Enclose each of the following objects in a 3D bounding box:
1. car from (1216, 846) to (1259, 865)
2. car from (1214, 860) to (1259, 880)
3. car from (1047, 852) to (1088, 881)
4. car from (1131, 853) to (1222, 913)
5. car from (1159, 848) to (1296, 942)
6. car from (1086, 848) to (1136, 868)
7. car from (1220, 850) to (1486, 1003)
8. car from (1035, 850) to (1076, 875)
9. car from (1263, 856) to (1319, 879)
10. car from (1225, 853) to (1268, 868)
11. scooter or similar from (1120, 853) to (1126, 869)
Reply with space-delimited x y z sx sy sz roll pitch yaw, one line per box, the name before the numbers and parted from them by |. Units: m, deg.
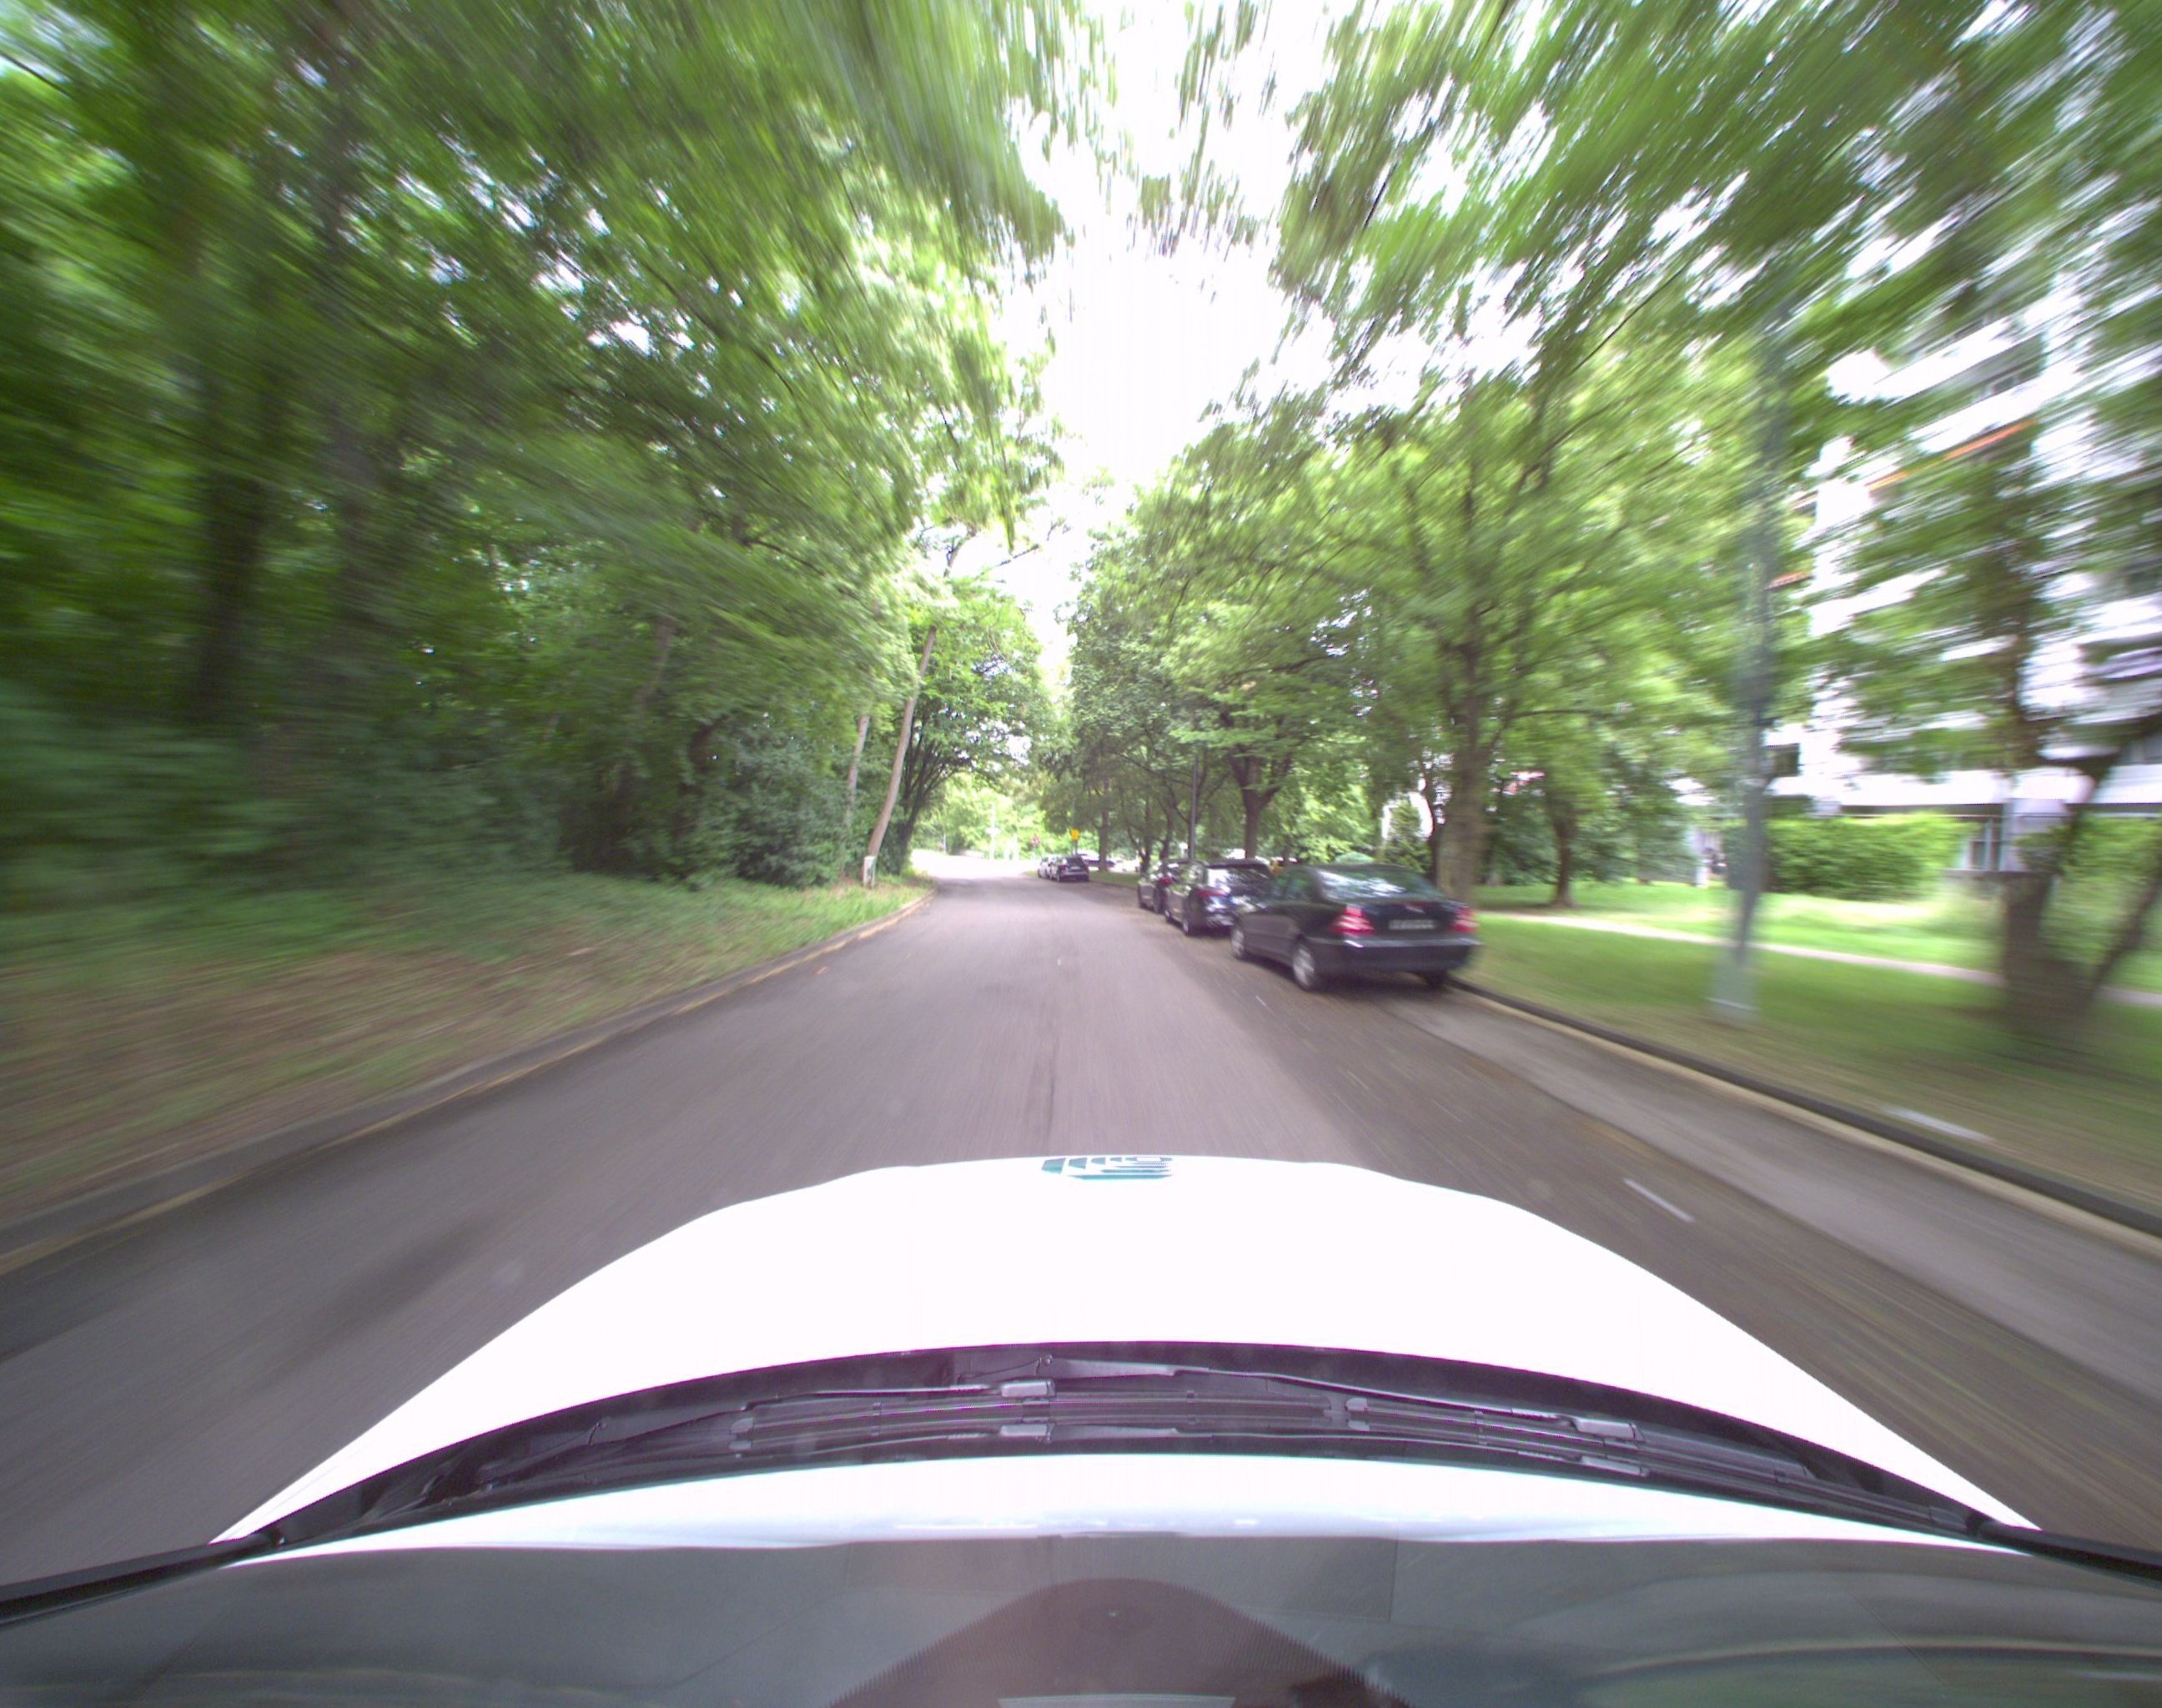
car | 17.317 0.117 90.093 4.202 2.013 1.995 1 0 -8
car | 13.493 1.357 70.764 3.505 1.570 1.832 1 1 0
car | -0.825 0.700 47.474 1.774 1.522 4.169 1 0 -10
car | 2.517 0.718 22.400 1.680 1.464 3.890 1 0 -6
car | 2.783 0.707 16.559 1.907 1.611 4.733 1 0 0
car | 2.680 0.365 73.106 4.218 1.685 1.795 1 0 -7
car | 3.079 0.708 10.229 1.586 1.465 4.309 1 1 -5
car | -1.656 0.534 51.761 1.777 1.522 3.761 1 0 -15
car | 18.435 1.172 71.606 4.387 1.848 1.830 1 1 -4
car | 17.690 0.715 87.117 4.202 1.498 1.795 1 0 -8
scooter or similar | 3.597 0.595 69.457 0.283 1.286 1.104 1 0 -10
